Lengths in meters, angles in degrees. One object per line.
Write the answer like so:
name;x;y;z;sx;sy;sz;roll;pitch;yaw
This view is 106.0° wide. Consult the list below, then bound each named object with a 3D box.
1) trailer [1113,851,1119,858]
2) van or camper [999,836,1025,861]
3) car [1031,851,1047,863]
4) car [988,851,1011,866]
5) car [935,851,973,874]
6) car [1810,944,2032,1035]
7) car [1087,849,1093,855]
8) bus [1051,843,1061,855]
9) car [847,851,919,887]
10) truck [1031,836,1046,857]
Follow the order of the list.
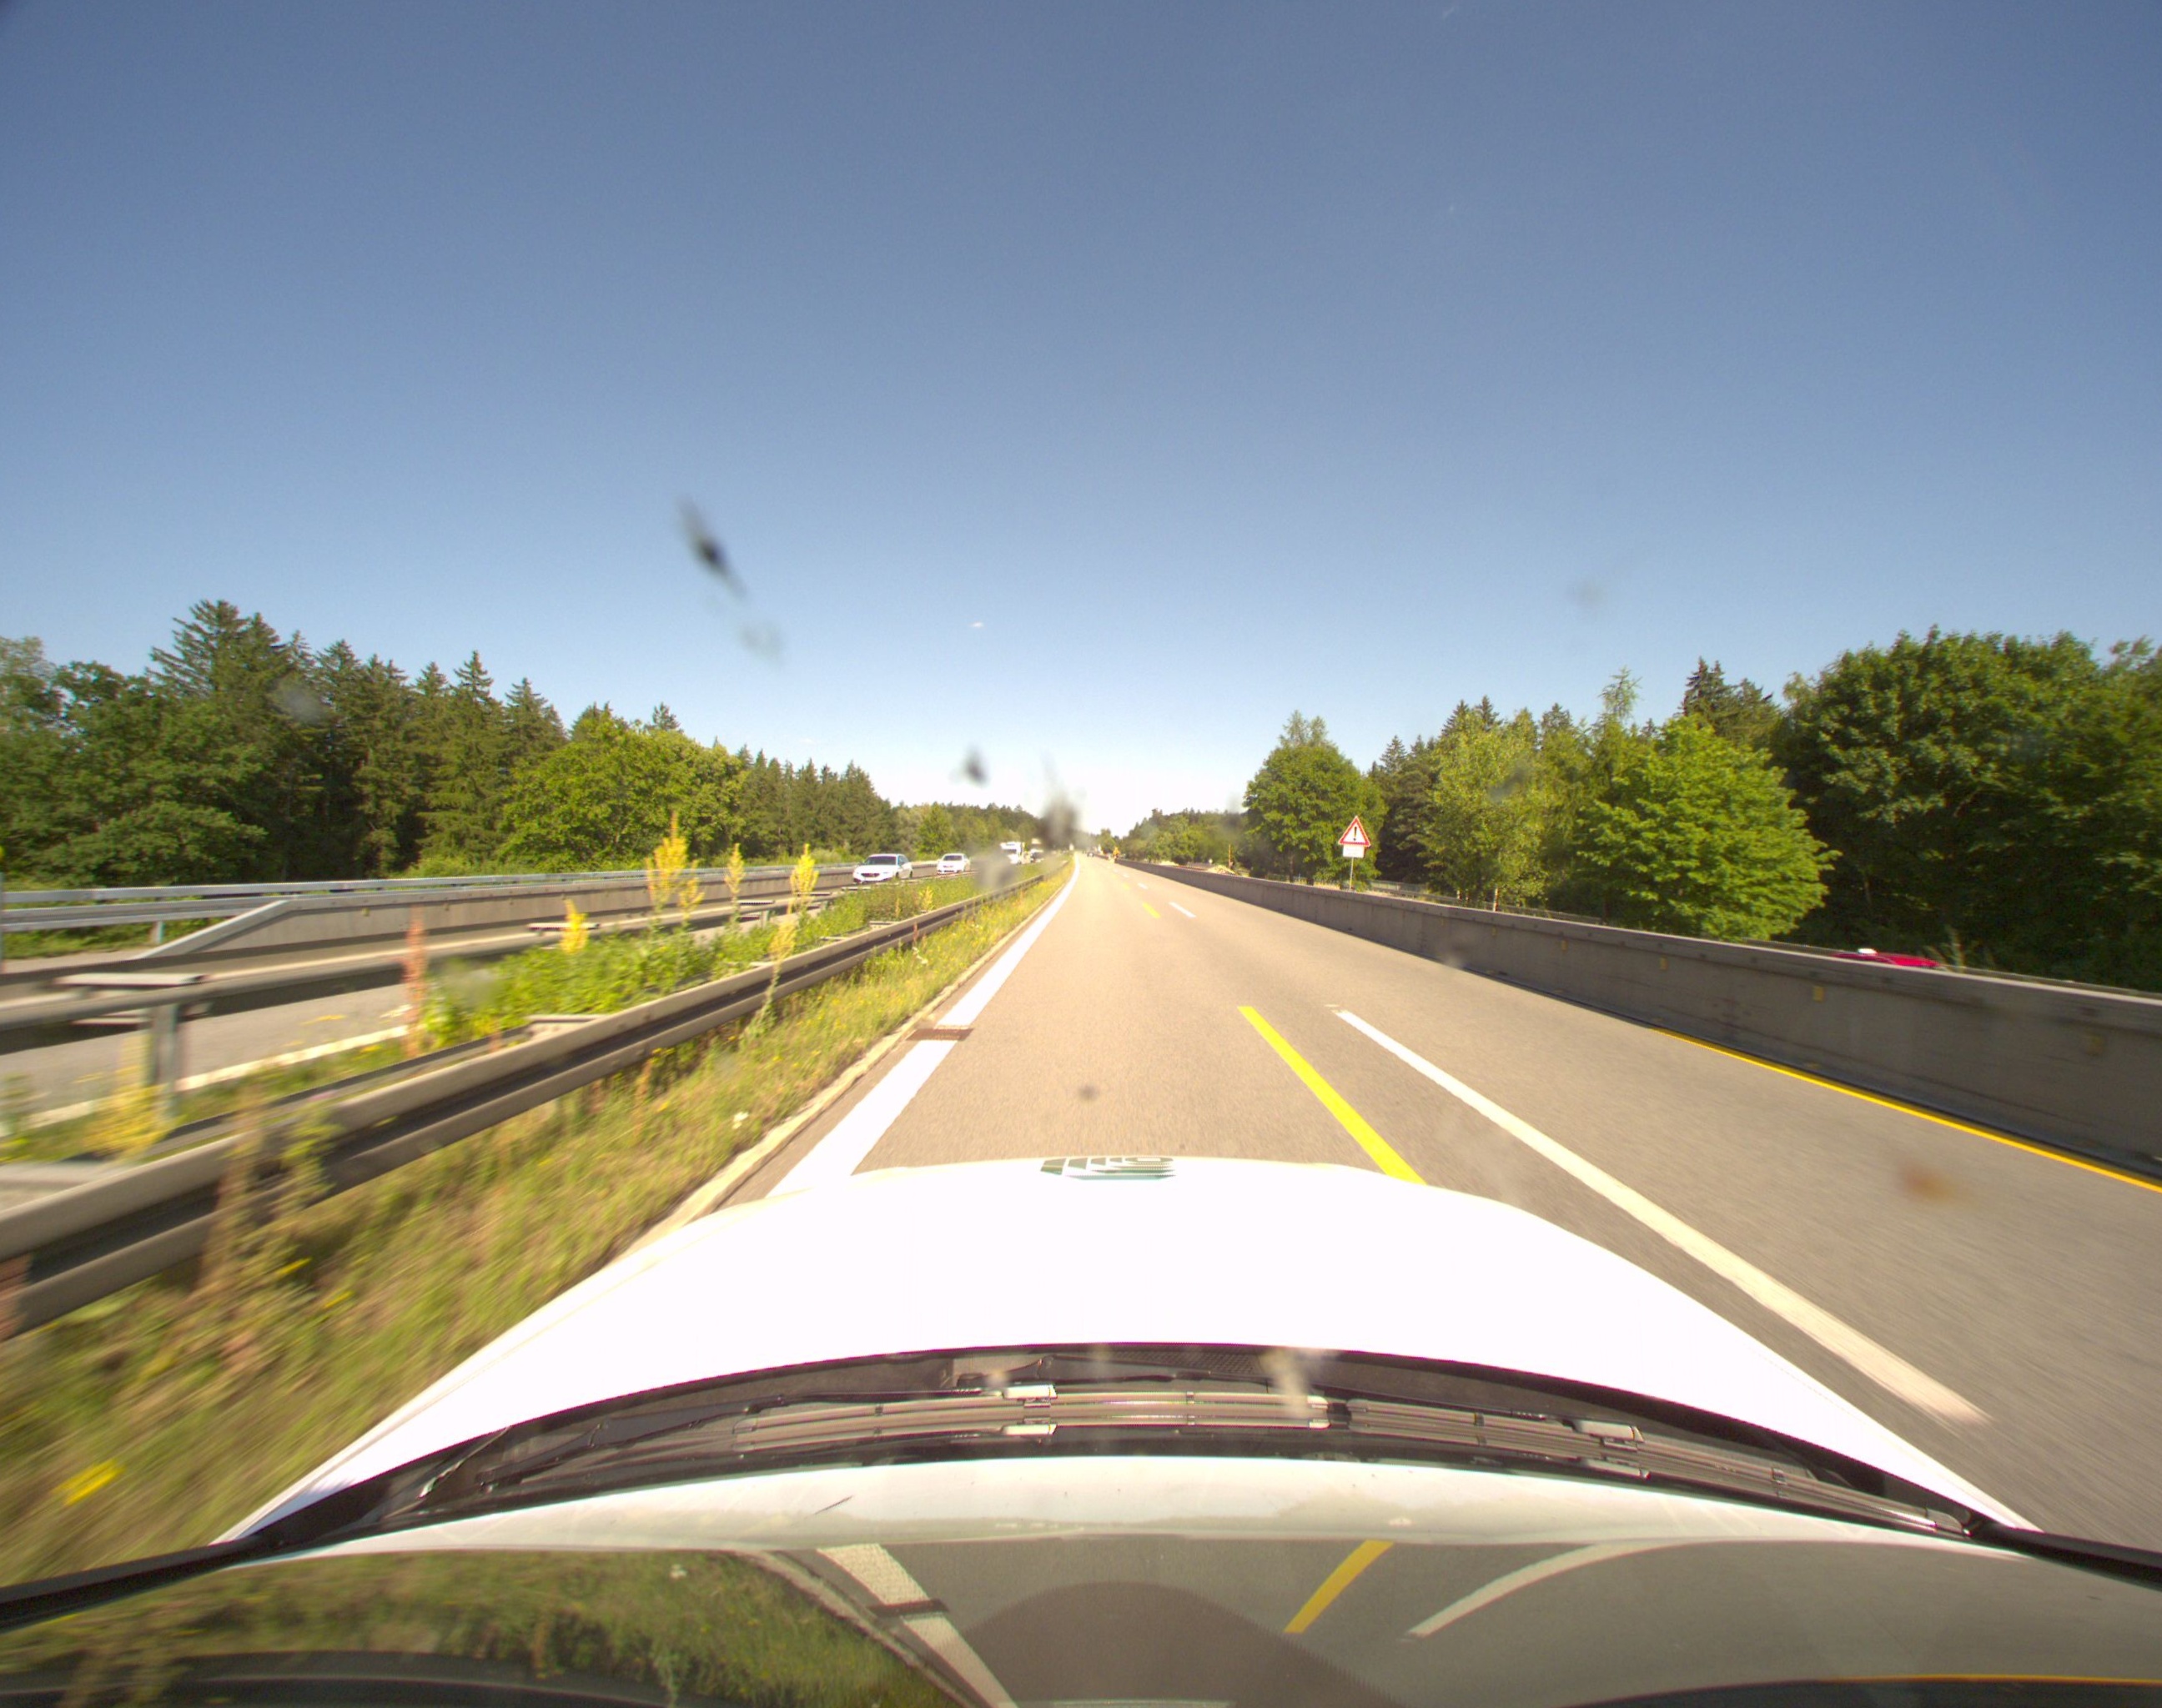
trailer;9.542;0.061;223.323;1.122;1.873;3.996;1;0;-2
van or camper;-8.408;-0.650;99.811;2.397;2.950;7.523;1;0;1
car;-5.464;0.405;105.472;1.735;1.530;4.001;-1;0;1
car;-8.583;0.460;86.053;1.735;1.432;5.235;-3;0;0
car;-8.472;0.559;54.747;1.695;1.432;4.956;-1;0;0
car;21.008;3.318;20.636;1.757;1.653;3.884;0;0;3
car;2.488;-0.507;228.374;1.738;1.466;4.293;1;0;0
bus;-7.960;-1.485;260.450;2.873;3.670;12.911;2;0;-1
car;-8.466;0.618;35.284;1.877;1.432;4.983;0;0;0
truck;-8.339;-1.506;160.038;2.762;4.088;5.474;0;0;0
